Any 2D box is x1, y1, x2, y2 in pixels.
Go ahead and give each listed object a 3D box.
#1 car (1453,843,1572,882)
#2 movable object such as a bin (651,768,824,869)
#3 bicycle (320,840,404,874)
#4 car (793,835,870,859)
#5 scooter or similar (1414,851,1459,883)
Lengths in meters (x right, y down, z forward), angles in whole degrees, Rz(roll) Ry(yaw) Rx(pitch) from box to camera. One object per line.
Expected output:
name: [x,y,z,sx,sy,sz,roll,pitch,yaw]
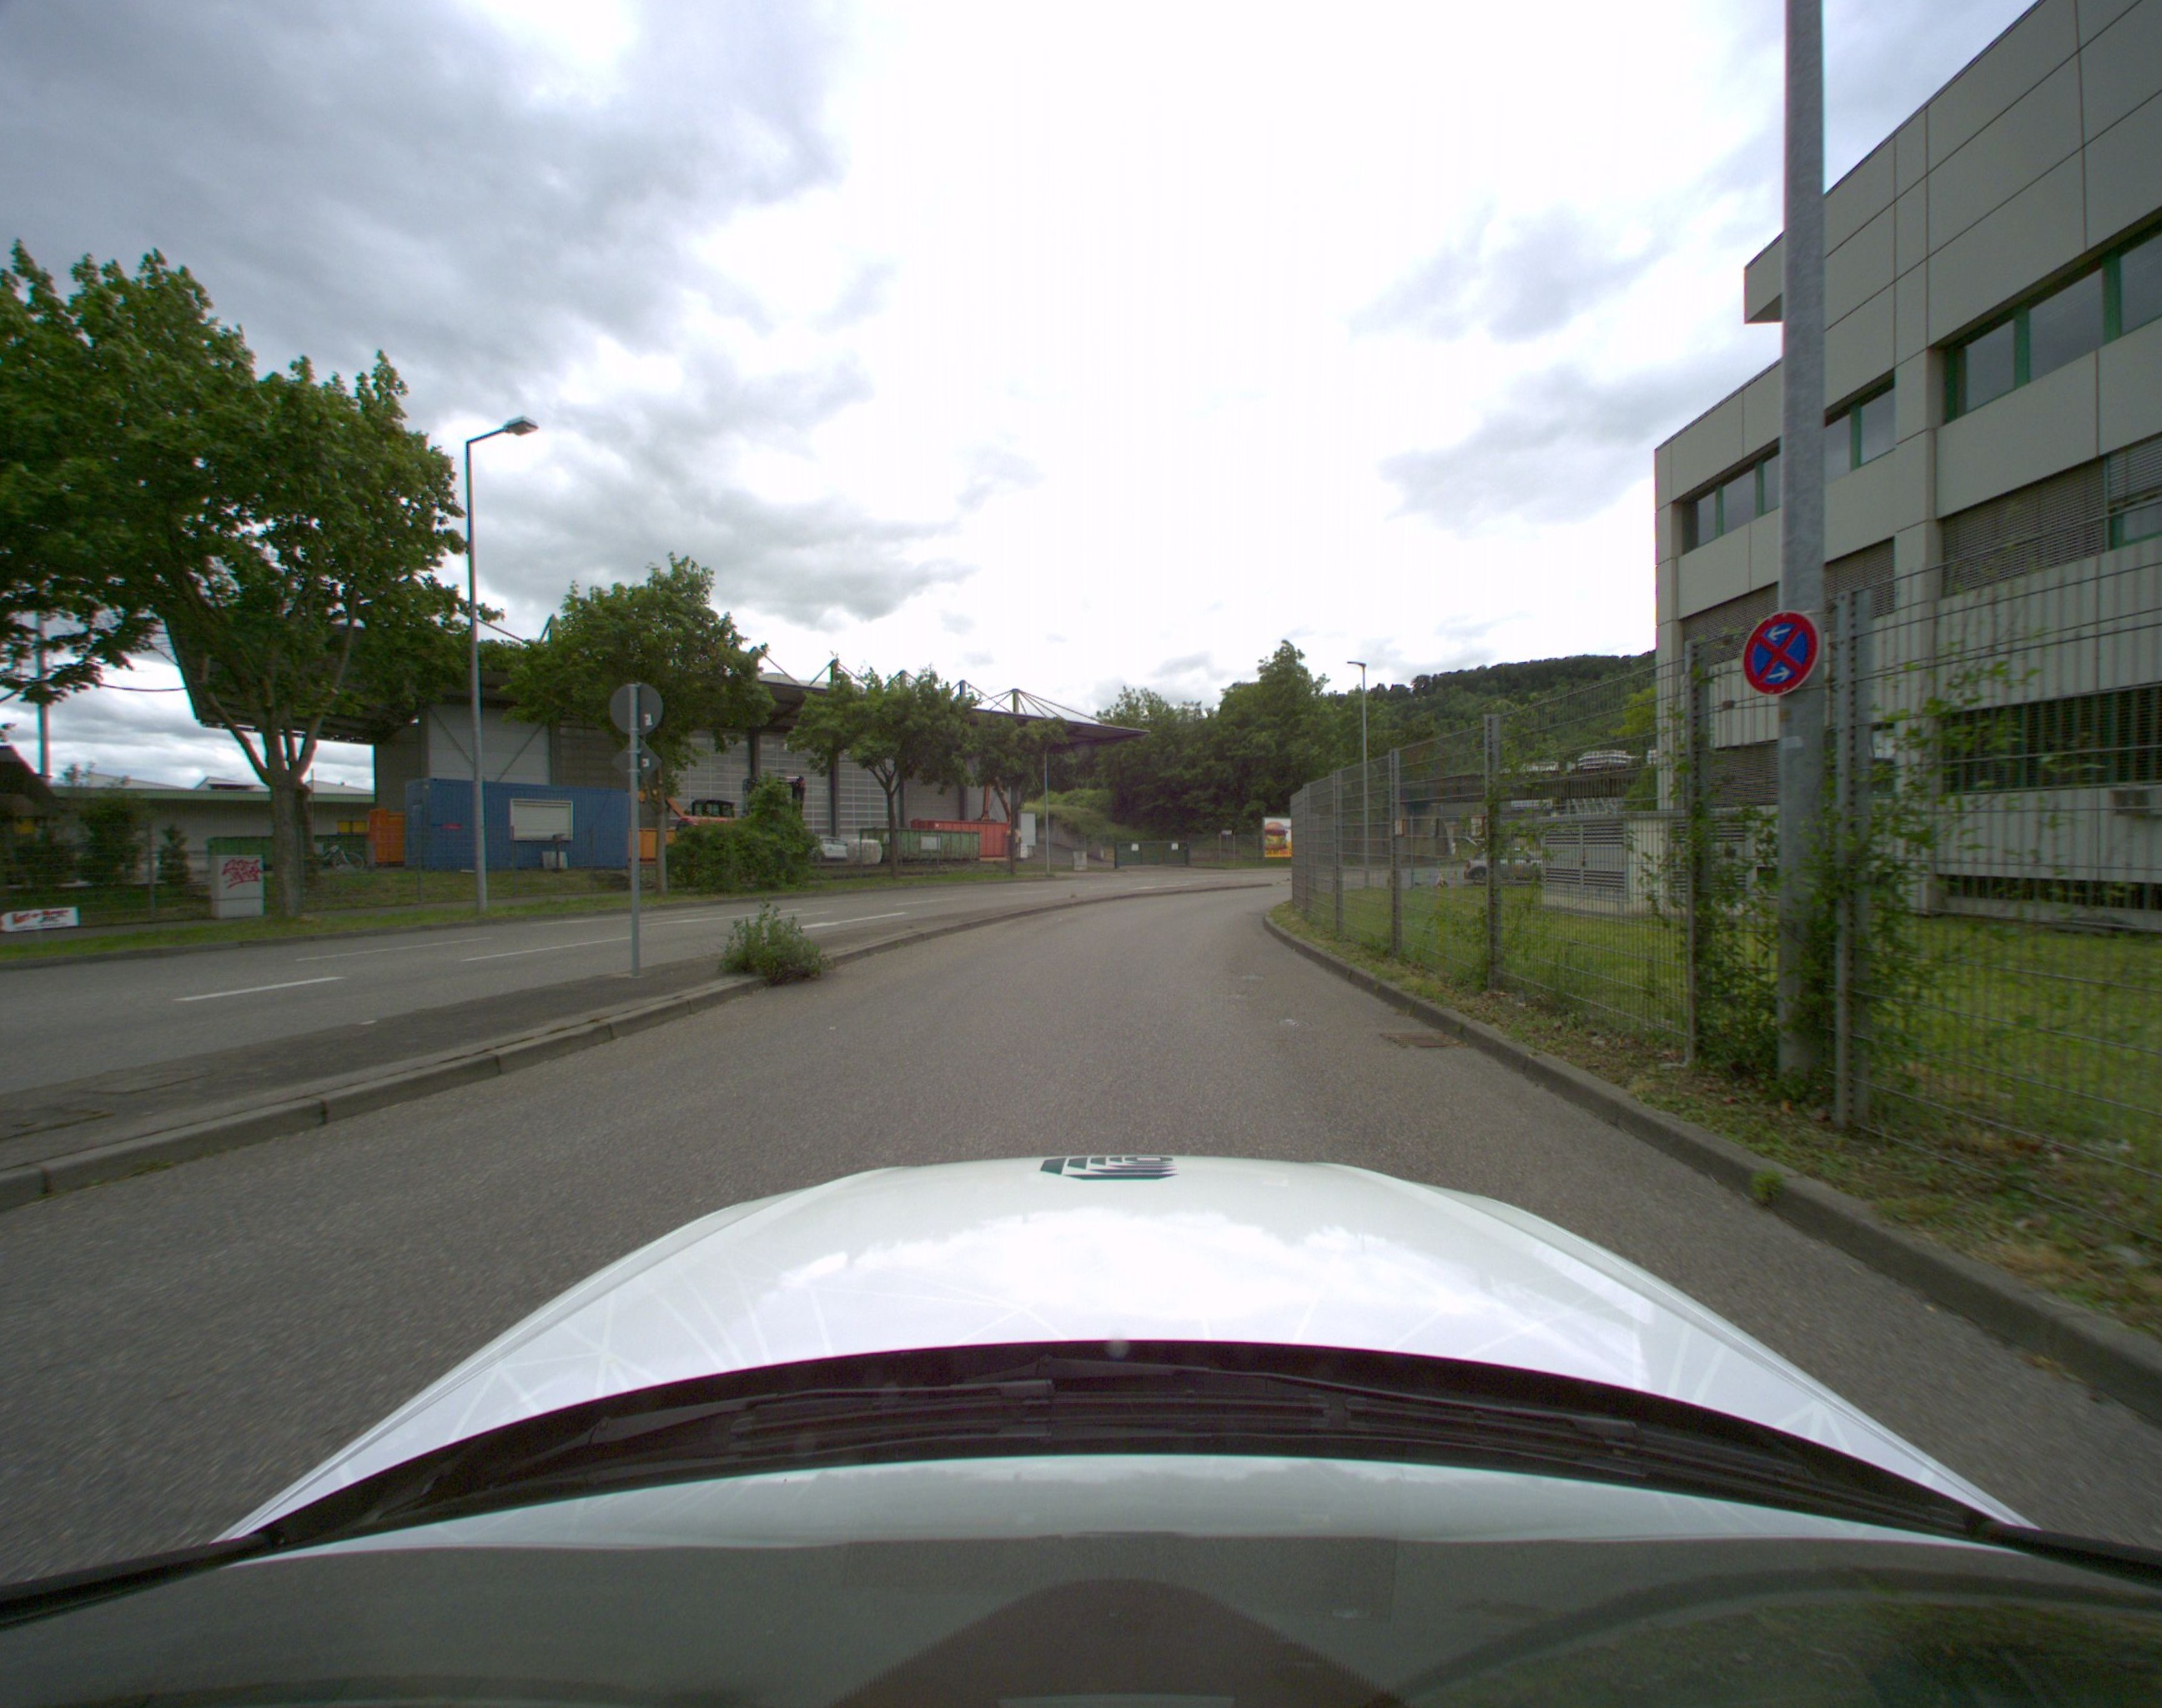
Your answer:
car: [16.658,0.338,31.636,3.970,1.432,1.797,-1,0,25]
movable object such as a bin: [-15.143,-1.518,36.371,2.698,4.090,6.595,-1,1,36]
bicycle: [-21.772,0.078,24.682,0.654,0.974,1.772,-1,1,36]
car: [-14.802,-0.419,48.431,1.716,1.374,4.024,0,1,43]
scooter or similar: [12.989,0.485,29.768,0.483,1.133,1.403,-1,-1,-39]
